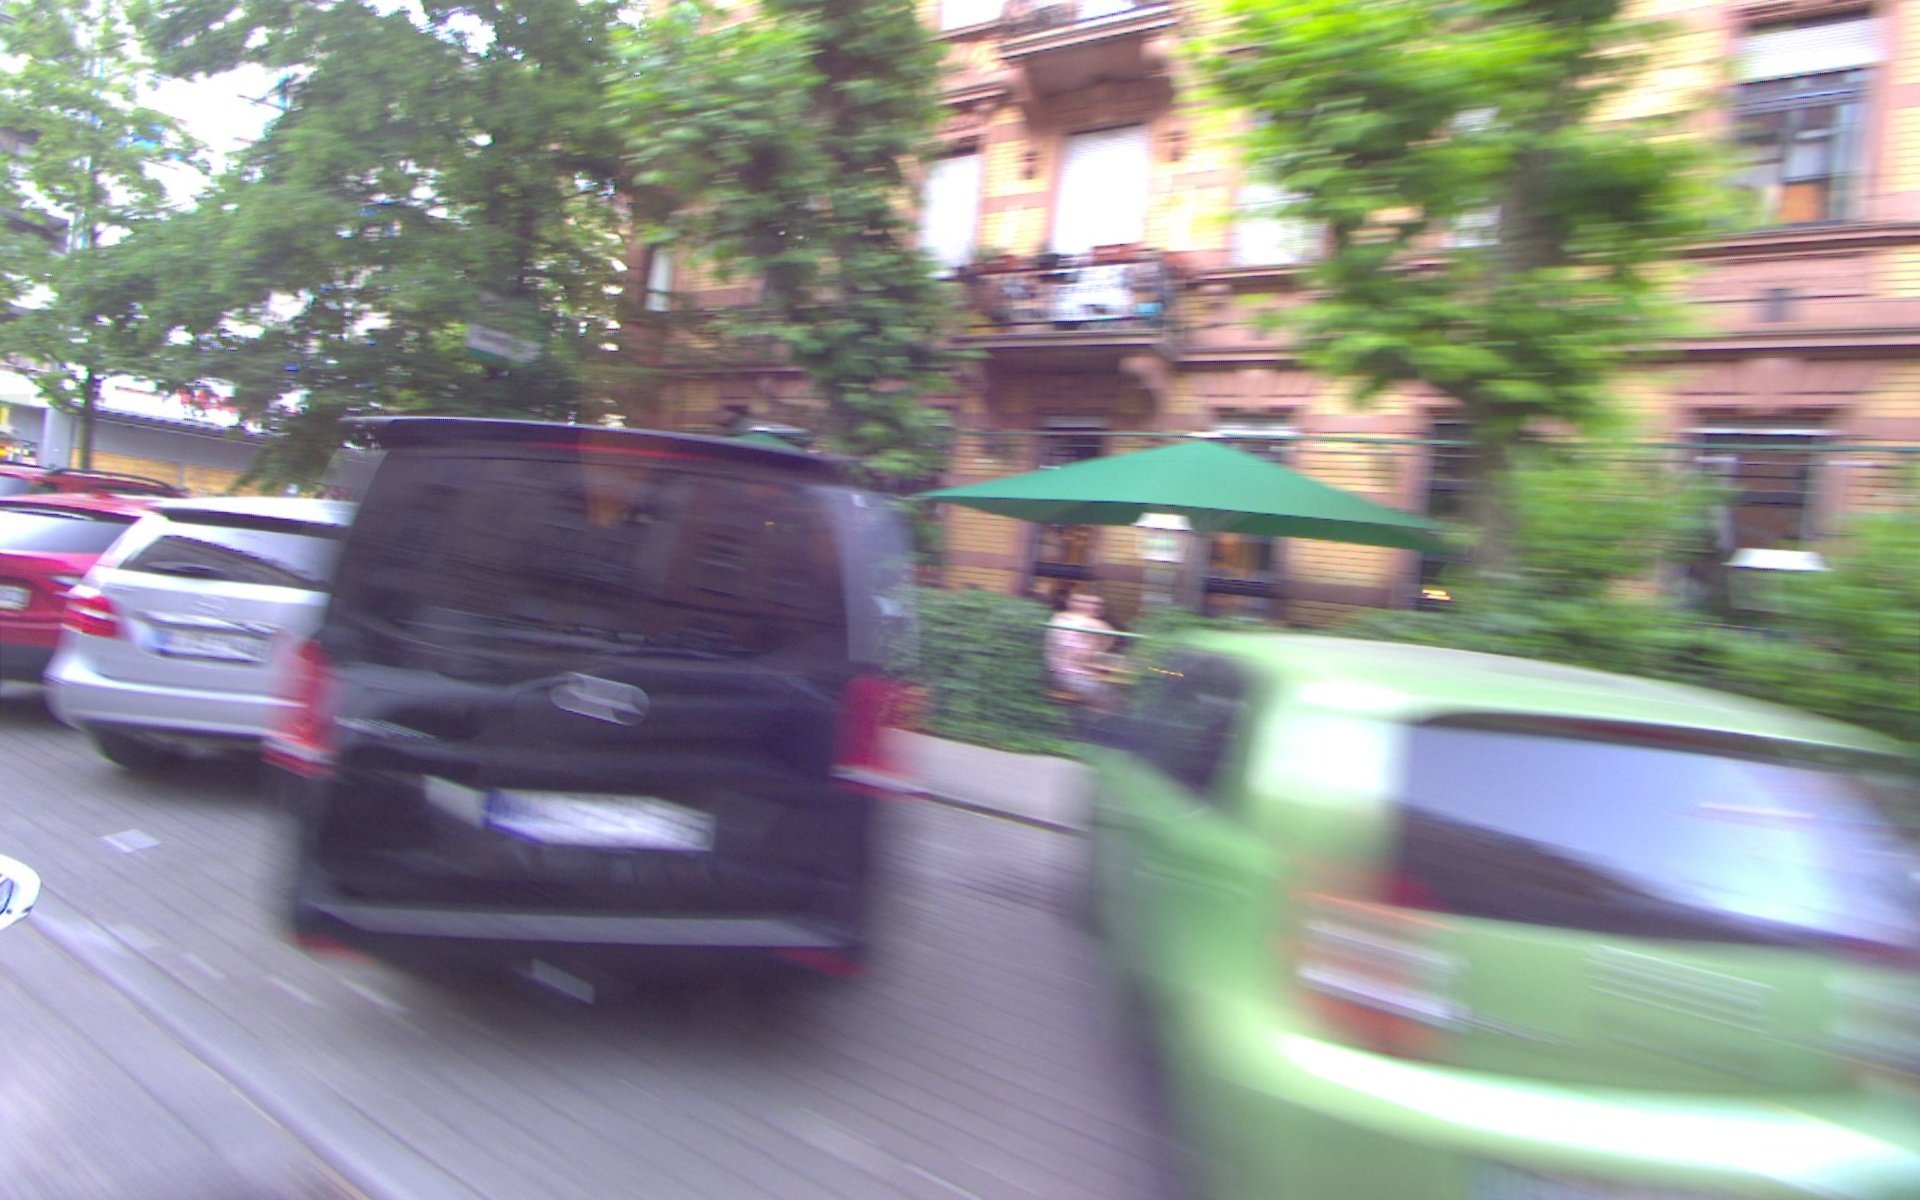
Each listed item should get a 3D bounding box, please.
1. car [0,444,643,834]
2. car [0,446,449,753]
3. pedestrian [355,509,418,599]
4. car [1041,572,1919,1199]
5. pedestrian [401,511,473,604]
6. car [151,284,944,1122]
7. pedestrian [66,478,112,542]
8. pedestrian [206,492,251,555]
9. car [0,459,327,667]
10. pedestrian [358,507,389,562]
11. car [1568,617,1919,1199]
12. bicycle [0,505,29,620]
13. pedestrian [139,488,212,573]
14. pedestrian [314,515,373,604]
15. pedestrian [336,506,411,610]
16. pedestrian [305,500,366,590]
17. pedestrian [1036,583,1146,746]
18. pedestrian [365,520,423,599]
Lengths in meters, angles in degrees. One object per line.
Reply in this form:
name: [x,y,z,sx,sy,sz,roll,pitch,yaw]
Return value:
car: [-3.785,0.102,6.805,1.898,1.644,4.218,6,2,-1]
car: [-5.914,-0.150,7.888,1.899,1.711,4.215,6,2,-6]
pedestrian: [-11.970,-0.944,21.023,0.825,1.744,0.864,7,-1,-21]
car: [1.415,0.800,3.750,1.785,1.573,4.104,6,2,0]
pedestrian: [-11.293,-0.917,21.734,0.853,1.849,0.836,7,-1,26]
car: [-1.368,0.217,5.404,1.899,2.100,5.425,6,2,-6]
pedestrian: [-24.745,-2.534,28.589,0.710,1.671,0.708,7,-1,-30]
pedestrian: [-21.937,-2.270,30.167,0.655,1.746,0.722,7,-1,-6]
car: [-8.470,-0.429,9.973,1.662,1.649,4.045,7,2,0]
pedestrian: [-18.674,-2.076,32.039,0.659,1.620,0.713,7,-1,-28]
car: [3.534,1.027,2.182,1.785,1.573,4.104,6,2,0]
bicycle: [-10.213,-0.417,9.871,0.358,1.176,1.552,7,1,17]
pedestrian: [-18.167,-1.599,23.308,0.932,1.791,0.868,7,-1,27]
pedestrian: [-10.261,-0.671,16.746,0.459,1.396,0.546,7,-1,29]
pedestrian: [-8.661,-0.609,14.877,0.505,1.426,0.640,7,-1,19]
pedestrian: [-13.866,-1.209,22.334,0.862,1.849,0.827,7,-1,-41]
pedestrian: [1.211,0.594,9.265,0.685,1.382,0.589,7,-1,28]
pedestrian: [-9.926,-0.700,17.645,0.565,1.284,0.545,6,-1,33]
